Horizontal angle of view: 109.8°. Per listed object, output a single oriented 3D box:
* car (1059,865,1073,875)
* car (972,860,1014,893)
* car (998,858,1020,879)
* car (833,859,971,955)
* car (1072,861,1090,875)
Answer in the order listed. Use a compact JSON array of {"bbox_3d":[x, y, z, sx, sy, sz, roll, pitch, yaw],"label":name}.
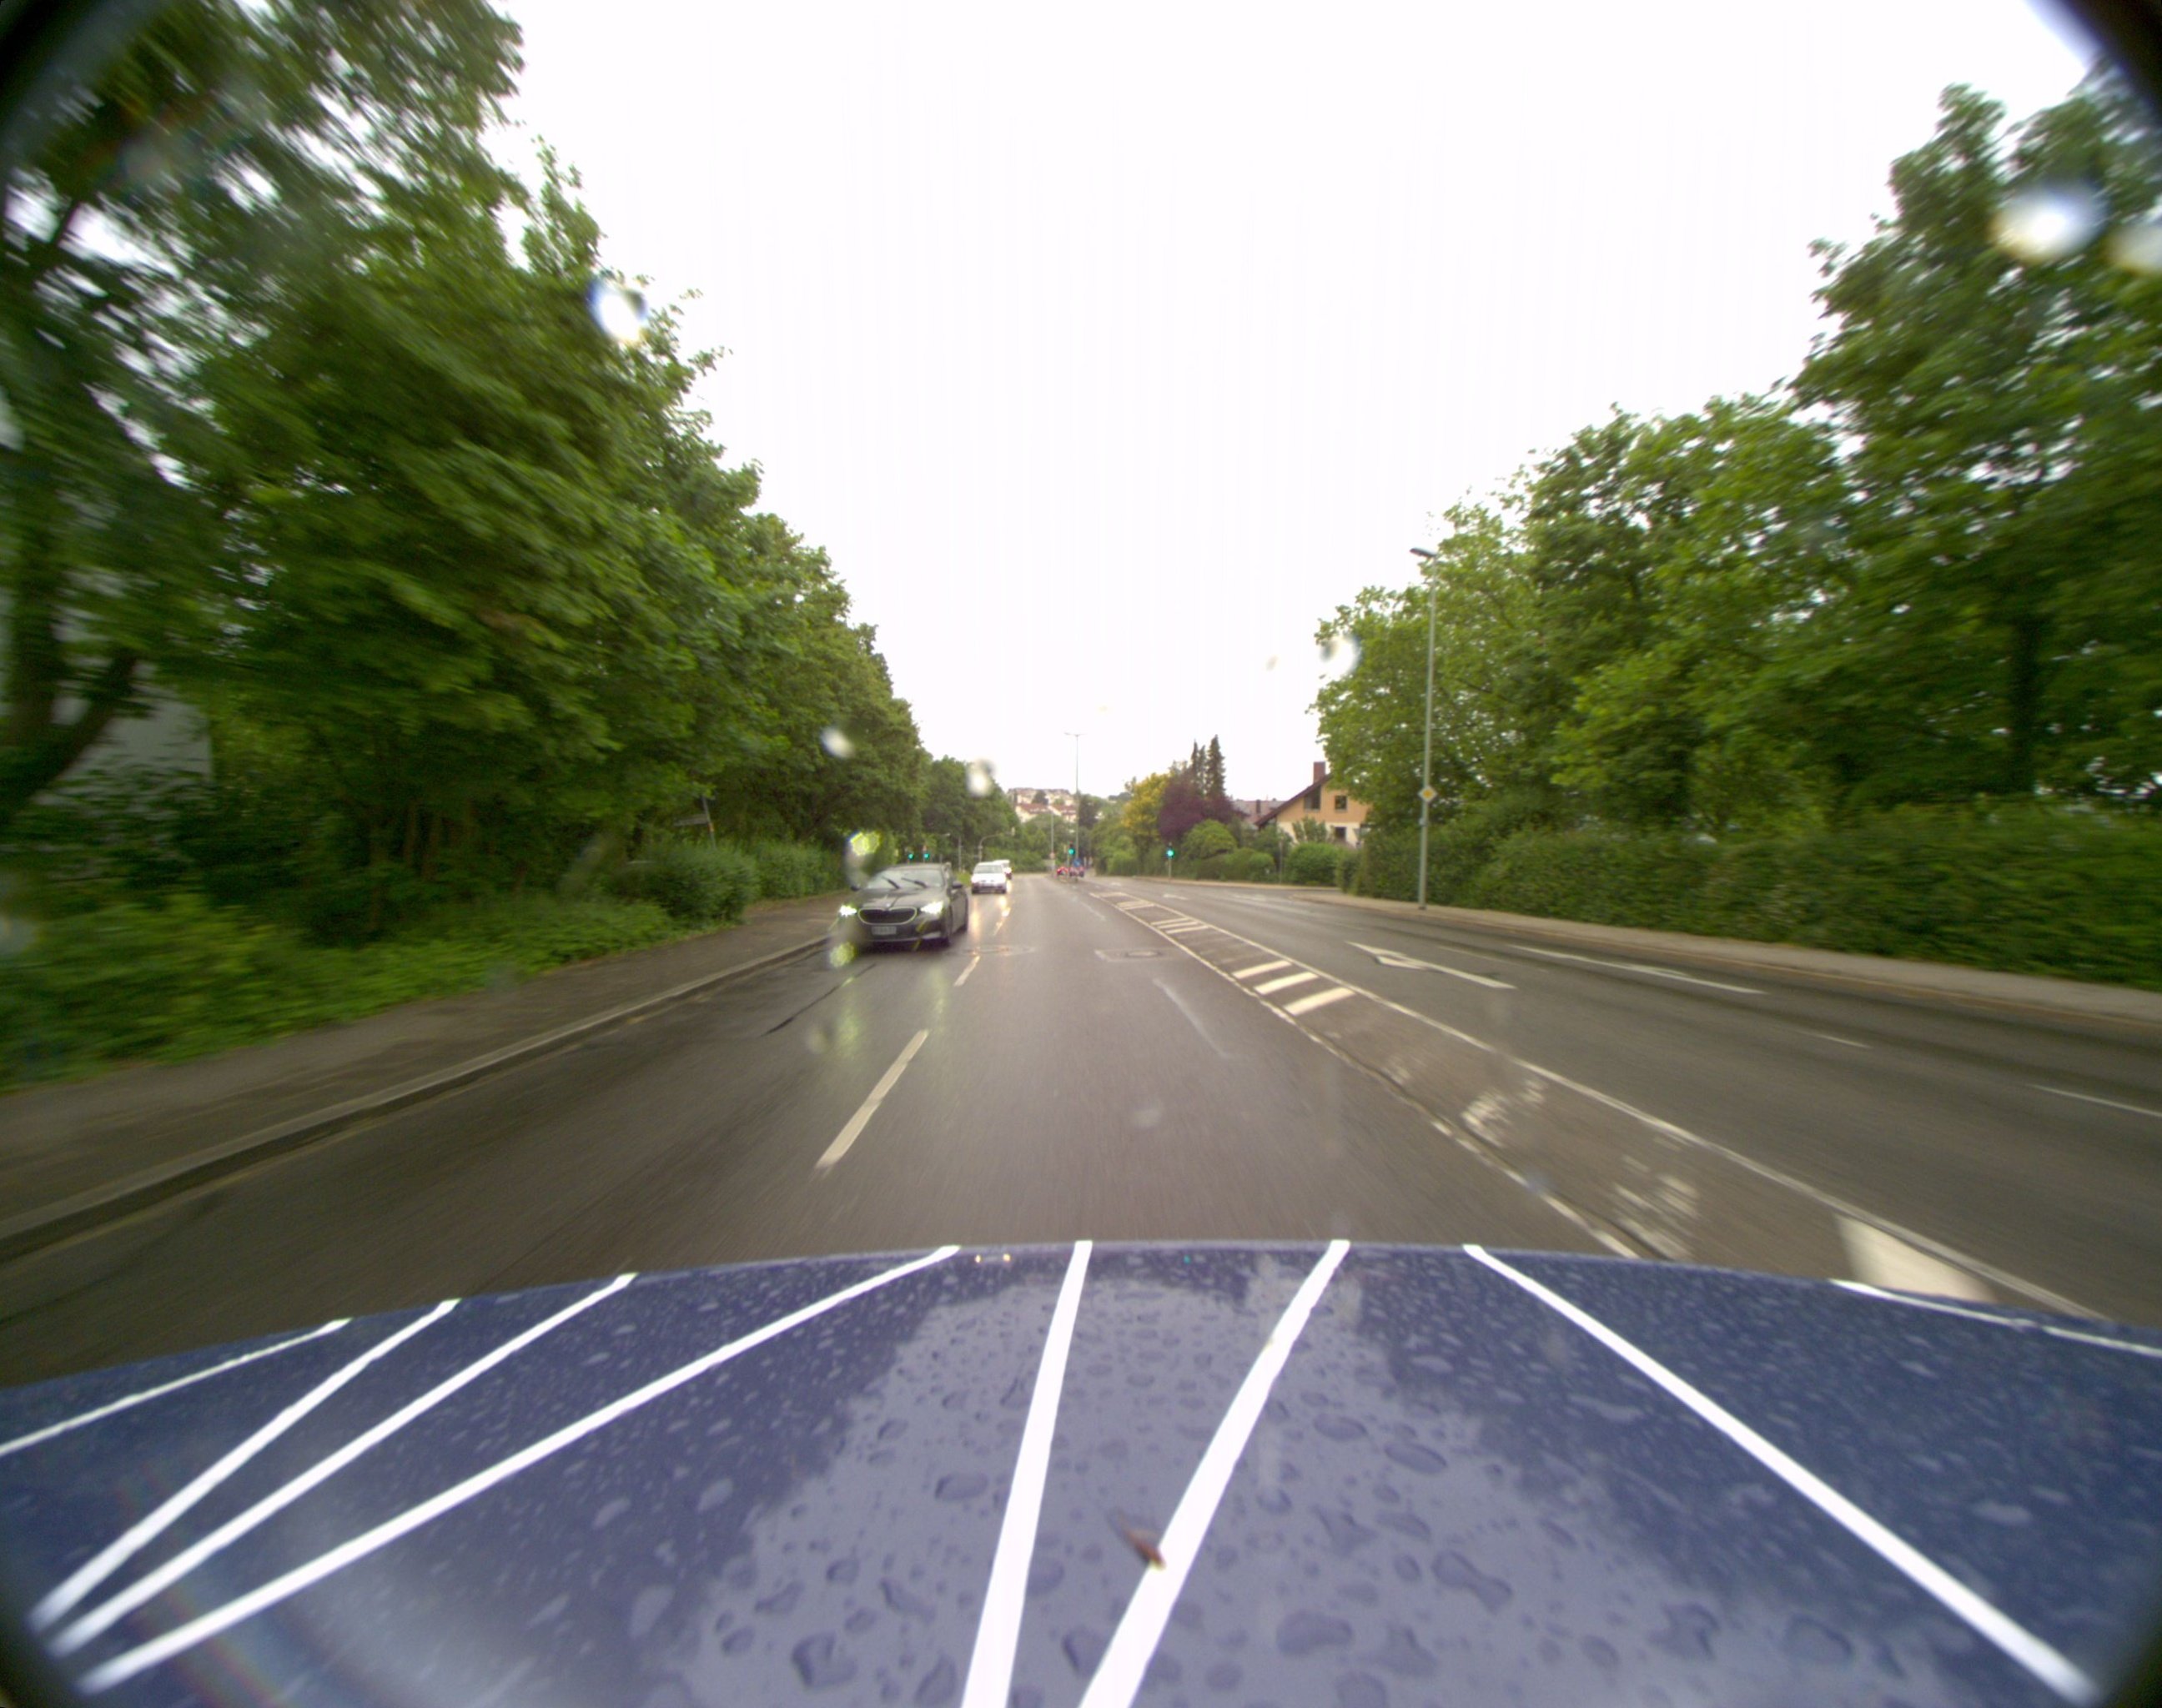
[{"bbox_3d":[-2.488,2.608,123.117,2.031,1.554,3.875,1,0,-4],"label":"car"},{"bbox_3d":[-4.385,1.106,38.265,1.815,1.546,4.118,1,-1,-3],"label":"car"},{"bbox_3d":[-6.638,1.319,70.402,1.815,1.797,4.118,1,-1,-4],"label":"car"},{"bbox_3d":[-3.252,0.889,14.608,1.868,1.546,4.118,1,0,-3],"label":"car"},{"bbox_3d":[0.027,1.668,89.649,1.800,1.593,3.730,1,0,-5],"label":"car"}]
